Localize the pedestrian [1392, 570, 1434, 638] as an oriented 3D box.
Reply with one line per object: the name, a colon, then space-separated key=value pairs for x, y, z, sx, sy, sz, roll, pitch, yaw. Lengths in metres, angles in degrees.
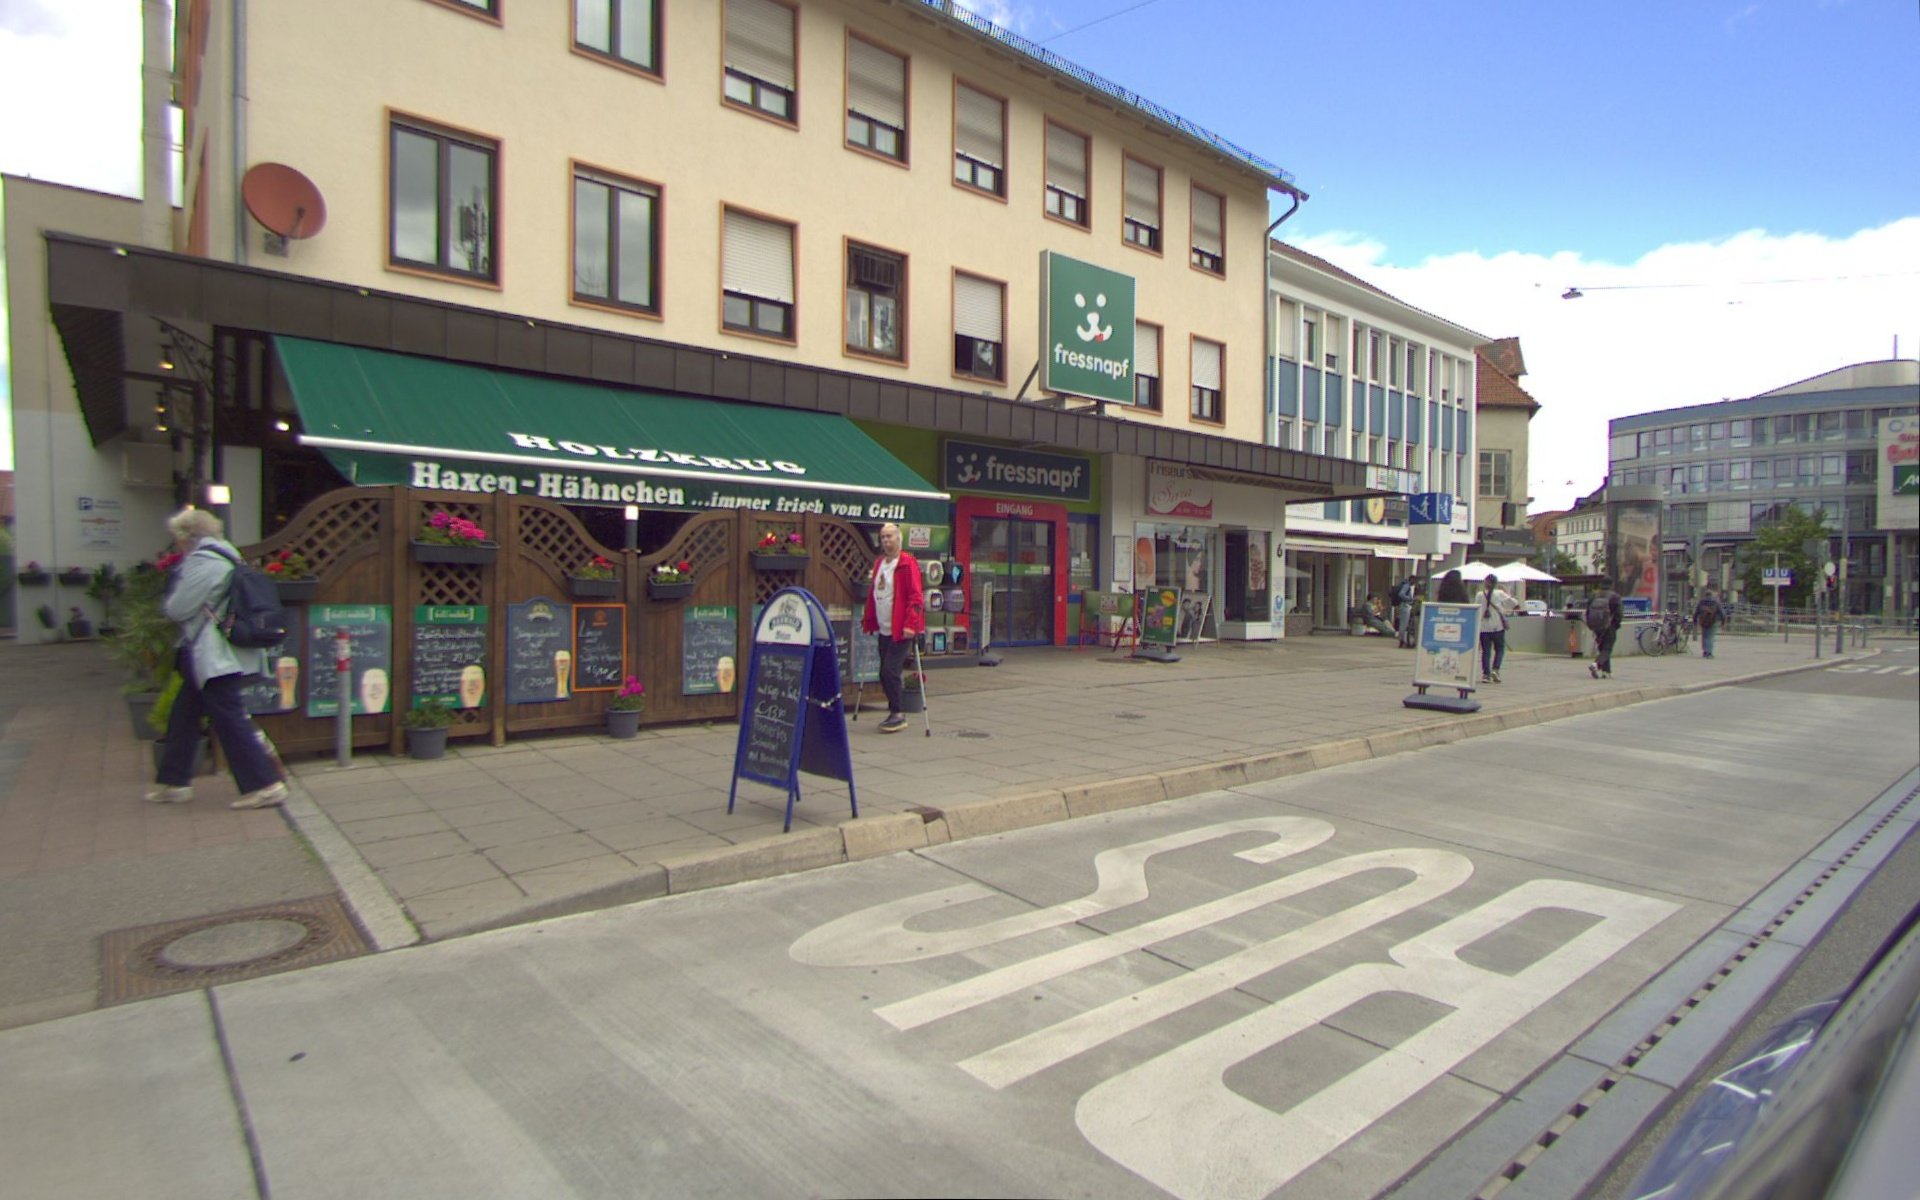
pedestrian: x=11.172 y=0.098 z=24.966 sx=0.787 sy=1.655 sz=0.667 roll=1 pitch=0 yaw=-43

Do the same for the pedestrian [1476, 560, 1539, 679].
pedestrian: x=7.876 y=0.264 z=14.571 sx=0.605 sy=1.655 sz=0.613 roll=0 pitch=2 yaw=-43

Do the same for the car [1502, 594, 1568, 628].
car: x=33.877 y=0.627 z=59.762 sx=1.850 sy=1.919 sz=4.912 roll=0 pitch=0 yaw=10

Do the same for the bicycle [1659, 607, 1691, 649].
bicycle: x=17.458 y=0.681 z=24.698 sx=1.362 sy=0.986 sz=0.274 roll=1 pitch=0 yaw=-40

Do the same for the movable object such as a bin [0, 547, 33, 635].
movable object such as a bin: x=-17.701 y=-0.166 z=18.472 sx=1.098 sy=1.583 sz=1.106 roll=1 pitch=0 yaw=-41

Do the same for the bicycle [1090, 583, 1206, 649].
bicycle: x=3.334 y=0.261 z=17.800 sx=2.311 sy=1.076 sz=0.742 roll=0 pitch=1 yaw=-43

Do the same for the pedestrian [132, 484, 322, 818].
pedestrian: x=-4.217 y=0.247 z=5.835 sx=0.682 sy=1.763 sz=0.770 roll=3 pitch=4 yaw=44

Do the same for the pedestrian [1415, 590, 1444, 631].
pedestrian: x=14.593 y=0.313 z=31.483 sx=0.578 sy=1.235 sz=0.614 roll=1 pitch=1 yaw=-43

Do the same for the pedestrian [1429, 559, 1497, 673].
pedestrian: x=7.511 y=0.218 z=15.121 sx=0.604 sy=1.655 sz=0.719 roll=0 pitch=2 yaw=-43

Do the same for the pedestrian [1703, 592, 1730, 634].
pedestrian: x=30.187 y=0.516 z=40.383 sx=0.580 sy=1.643 sz=0.740 roll=-2 pitch=-2 yaw=18

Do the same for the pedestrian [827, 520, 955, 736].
pedestrian: x=-0.604 y=0.203 z=8.799 sx=0.795 sy=1.763 sz=0.770 roll=3 pitch=4 yaw=44

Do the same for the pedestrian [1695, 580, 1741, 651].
pedestrian: x=18.067 y=0.363 z=24.121 sx=0.838 sy=1.655 sz=0.689 roll=1 pitch=0 yaw=-41

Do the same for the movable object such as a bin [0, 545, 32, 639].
movable object such as a bin: x=-16.773 y=-0.145 z=17.424 sx=1.098 sy=1.583 sz=1.106 roll=1 pitch=0 yaw=-41

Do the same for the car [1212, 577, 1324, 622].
car: x=12.042 y=-0.013 z=39.742 sx=1.703 sy=1.687 sz=3.977 roll=1 pitch=0 yaw=-36

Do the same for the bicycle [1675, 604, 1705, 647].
bicycle: x=18.536 y=0.649 z=25.696 sx=1.362 sy=1.066 sz=0.274 roll=1 pitch=0 yaw=-40

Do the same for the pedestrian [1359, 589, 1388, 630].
pedestrian: x=12.519 y=0.282 z=30.657 sx=0.578 sy=1.235 sz=0.614 roll=1 pitch=-1 yaw=-43

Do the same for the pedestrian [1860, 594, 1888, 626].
pedestrian: x=48.868 y=0.539 z=54.137 sx=0.834 sy=1.656 sz=0.641 roll=-2 pitch=-2 yaw=16

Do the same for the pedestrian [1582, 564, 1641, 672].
pedestrian: x=10.533 y=0.278 z=16.361 sx=0.604 sy=1.699 sz=0.613 roll=1 pitch=0 yaw=-38

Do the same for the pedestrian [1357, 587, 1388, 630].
pedestrian: x=12.208 y=0.260 z=29.950 sx=0.578 sy=1.236 sz=0.613 roll=1 pitch=-3 yaw=-43
